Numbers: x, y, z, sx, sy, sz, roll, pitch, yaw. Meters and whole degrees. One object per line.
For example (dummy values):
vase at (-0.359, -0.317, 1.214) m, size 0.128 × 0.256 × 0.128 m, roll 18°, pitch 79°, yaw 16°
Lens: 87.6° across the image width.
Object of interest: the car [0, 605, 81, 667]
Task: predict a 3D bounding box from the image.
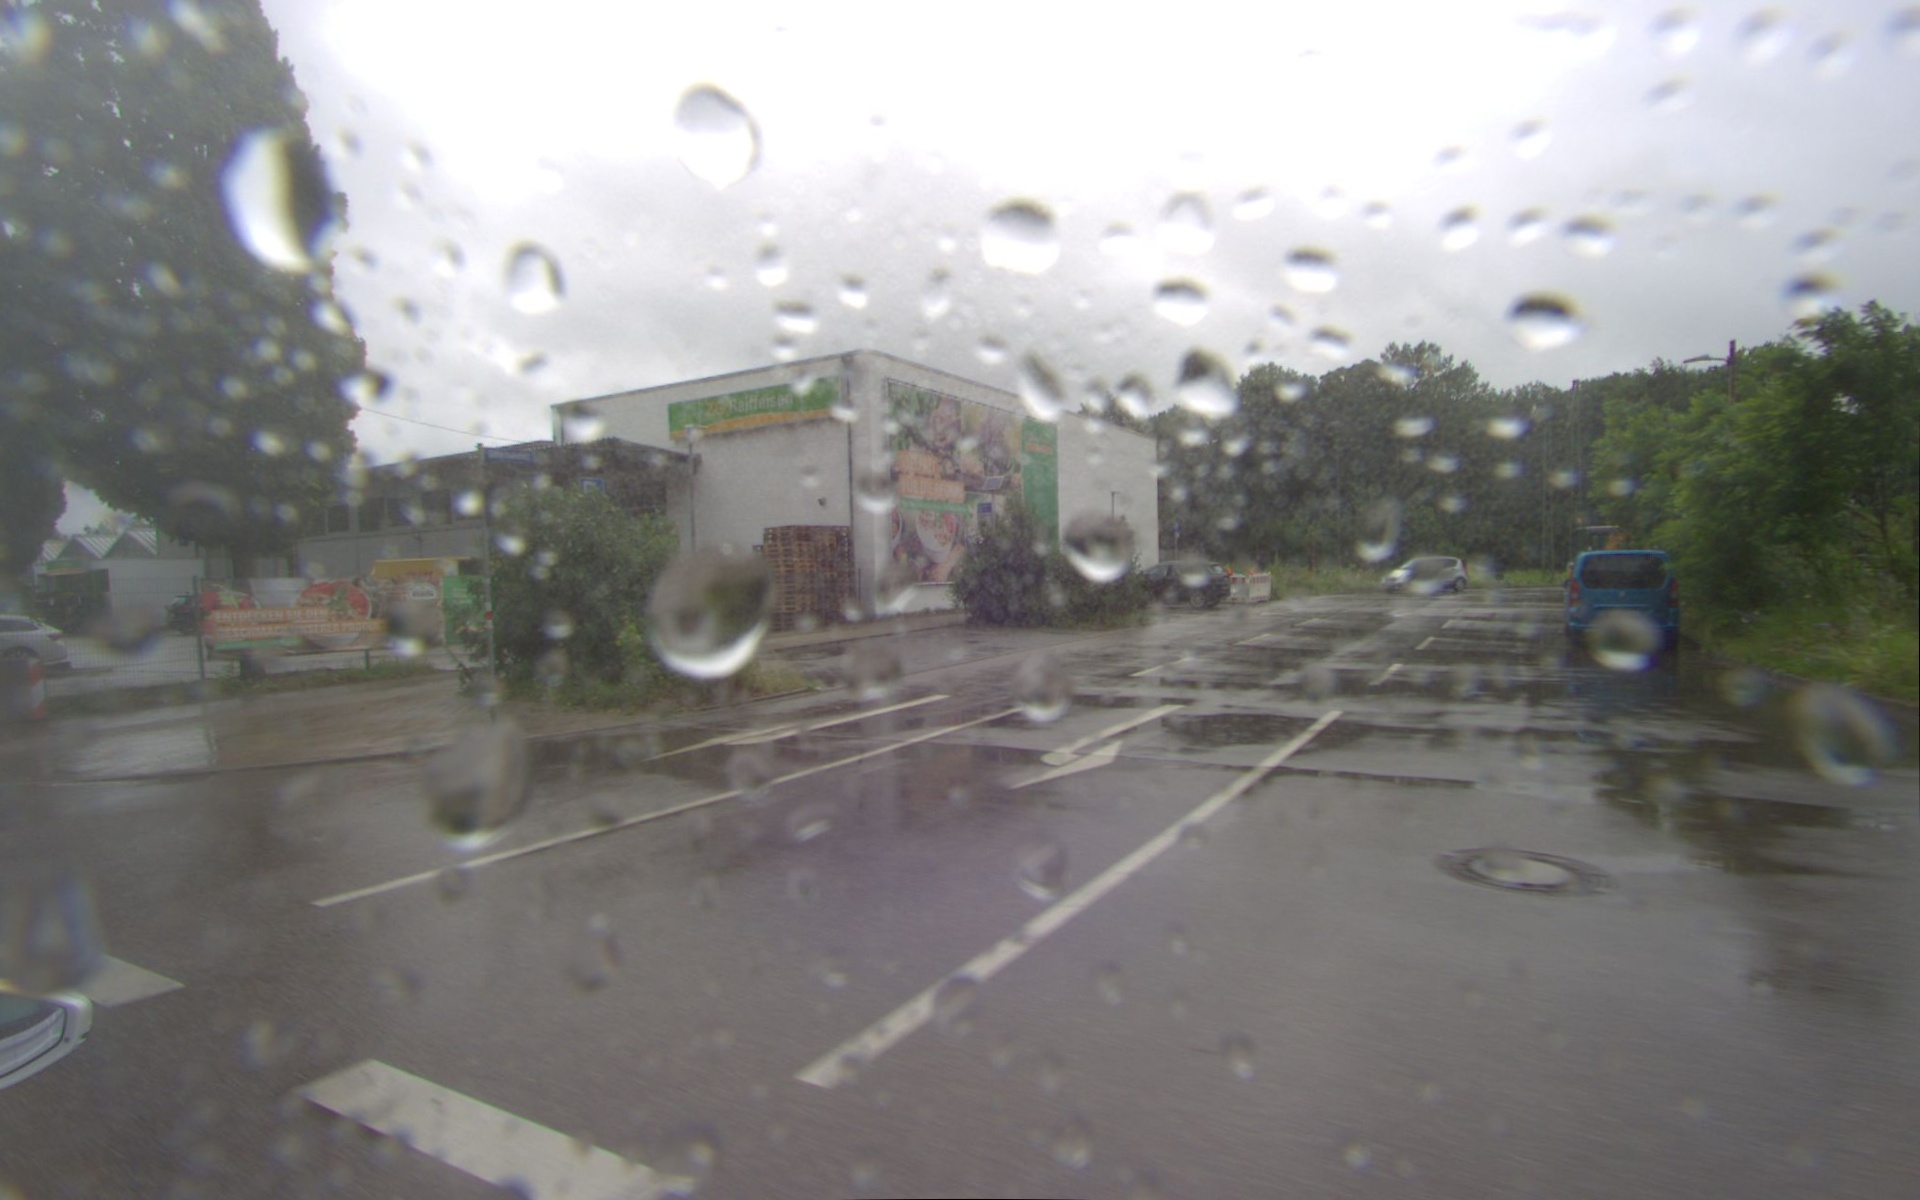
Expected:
car at (-24.485, 0.922, 24.071) m, size 1.862 × 1.482 × 4.696 m, roll -1°, pitch 0°, yaw 30°

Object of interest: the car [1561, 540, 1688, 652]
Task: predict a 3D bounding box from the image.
car at (12.798, -0.098, 19.490) m, size 1.804 × 1.948 × 3.980 m, roll -1°, pitch 1°, yaw 30°

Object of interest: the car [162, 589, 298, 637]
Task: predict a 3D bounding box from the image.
car at (-31.899, 0.532, 43.885) m, size 2.034 × 1.858 × 4.350 m, roll 0°, pitch 2°, yaw 32°

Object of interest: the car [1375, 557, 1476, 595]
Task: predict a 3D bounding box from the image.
car at (21.519, -1.106, 46.360) m, size 3.927 × 1.623 × 1.879 m, roll -2°, pitch 1°, yaw -15°

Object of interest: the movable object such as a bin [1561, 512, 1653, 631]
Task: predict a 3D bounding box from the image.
movable object such as a bin at (17.948, -0.756, 27.931) m, size 1.971 × 3.033 × 3.979 m, roll -1°, pitch 1°, yaw 31°

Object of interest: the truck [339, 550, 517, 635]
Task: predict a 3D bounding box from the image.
truck at (-18.715, -0.218, 35.022) m, size 7.316 × 2.696 × 2.293 m, roll -1°, pitch 3°, yaw 35°

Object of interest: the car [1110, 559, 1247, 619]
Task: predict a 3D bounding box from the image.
car at (7.631, -0.375, 34.995) m, size 4.315 × 1.848 × 1.781 m, roll -2°, pitch 2°, yaw 28°
